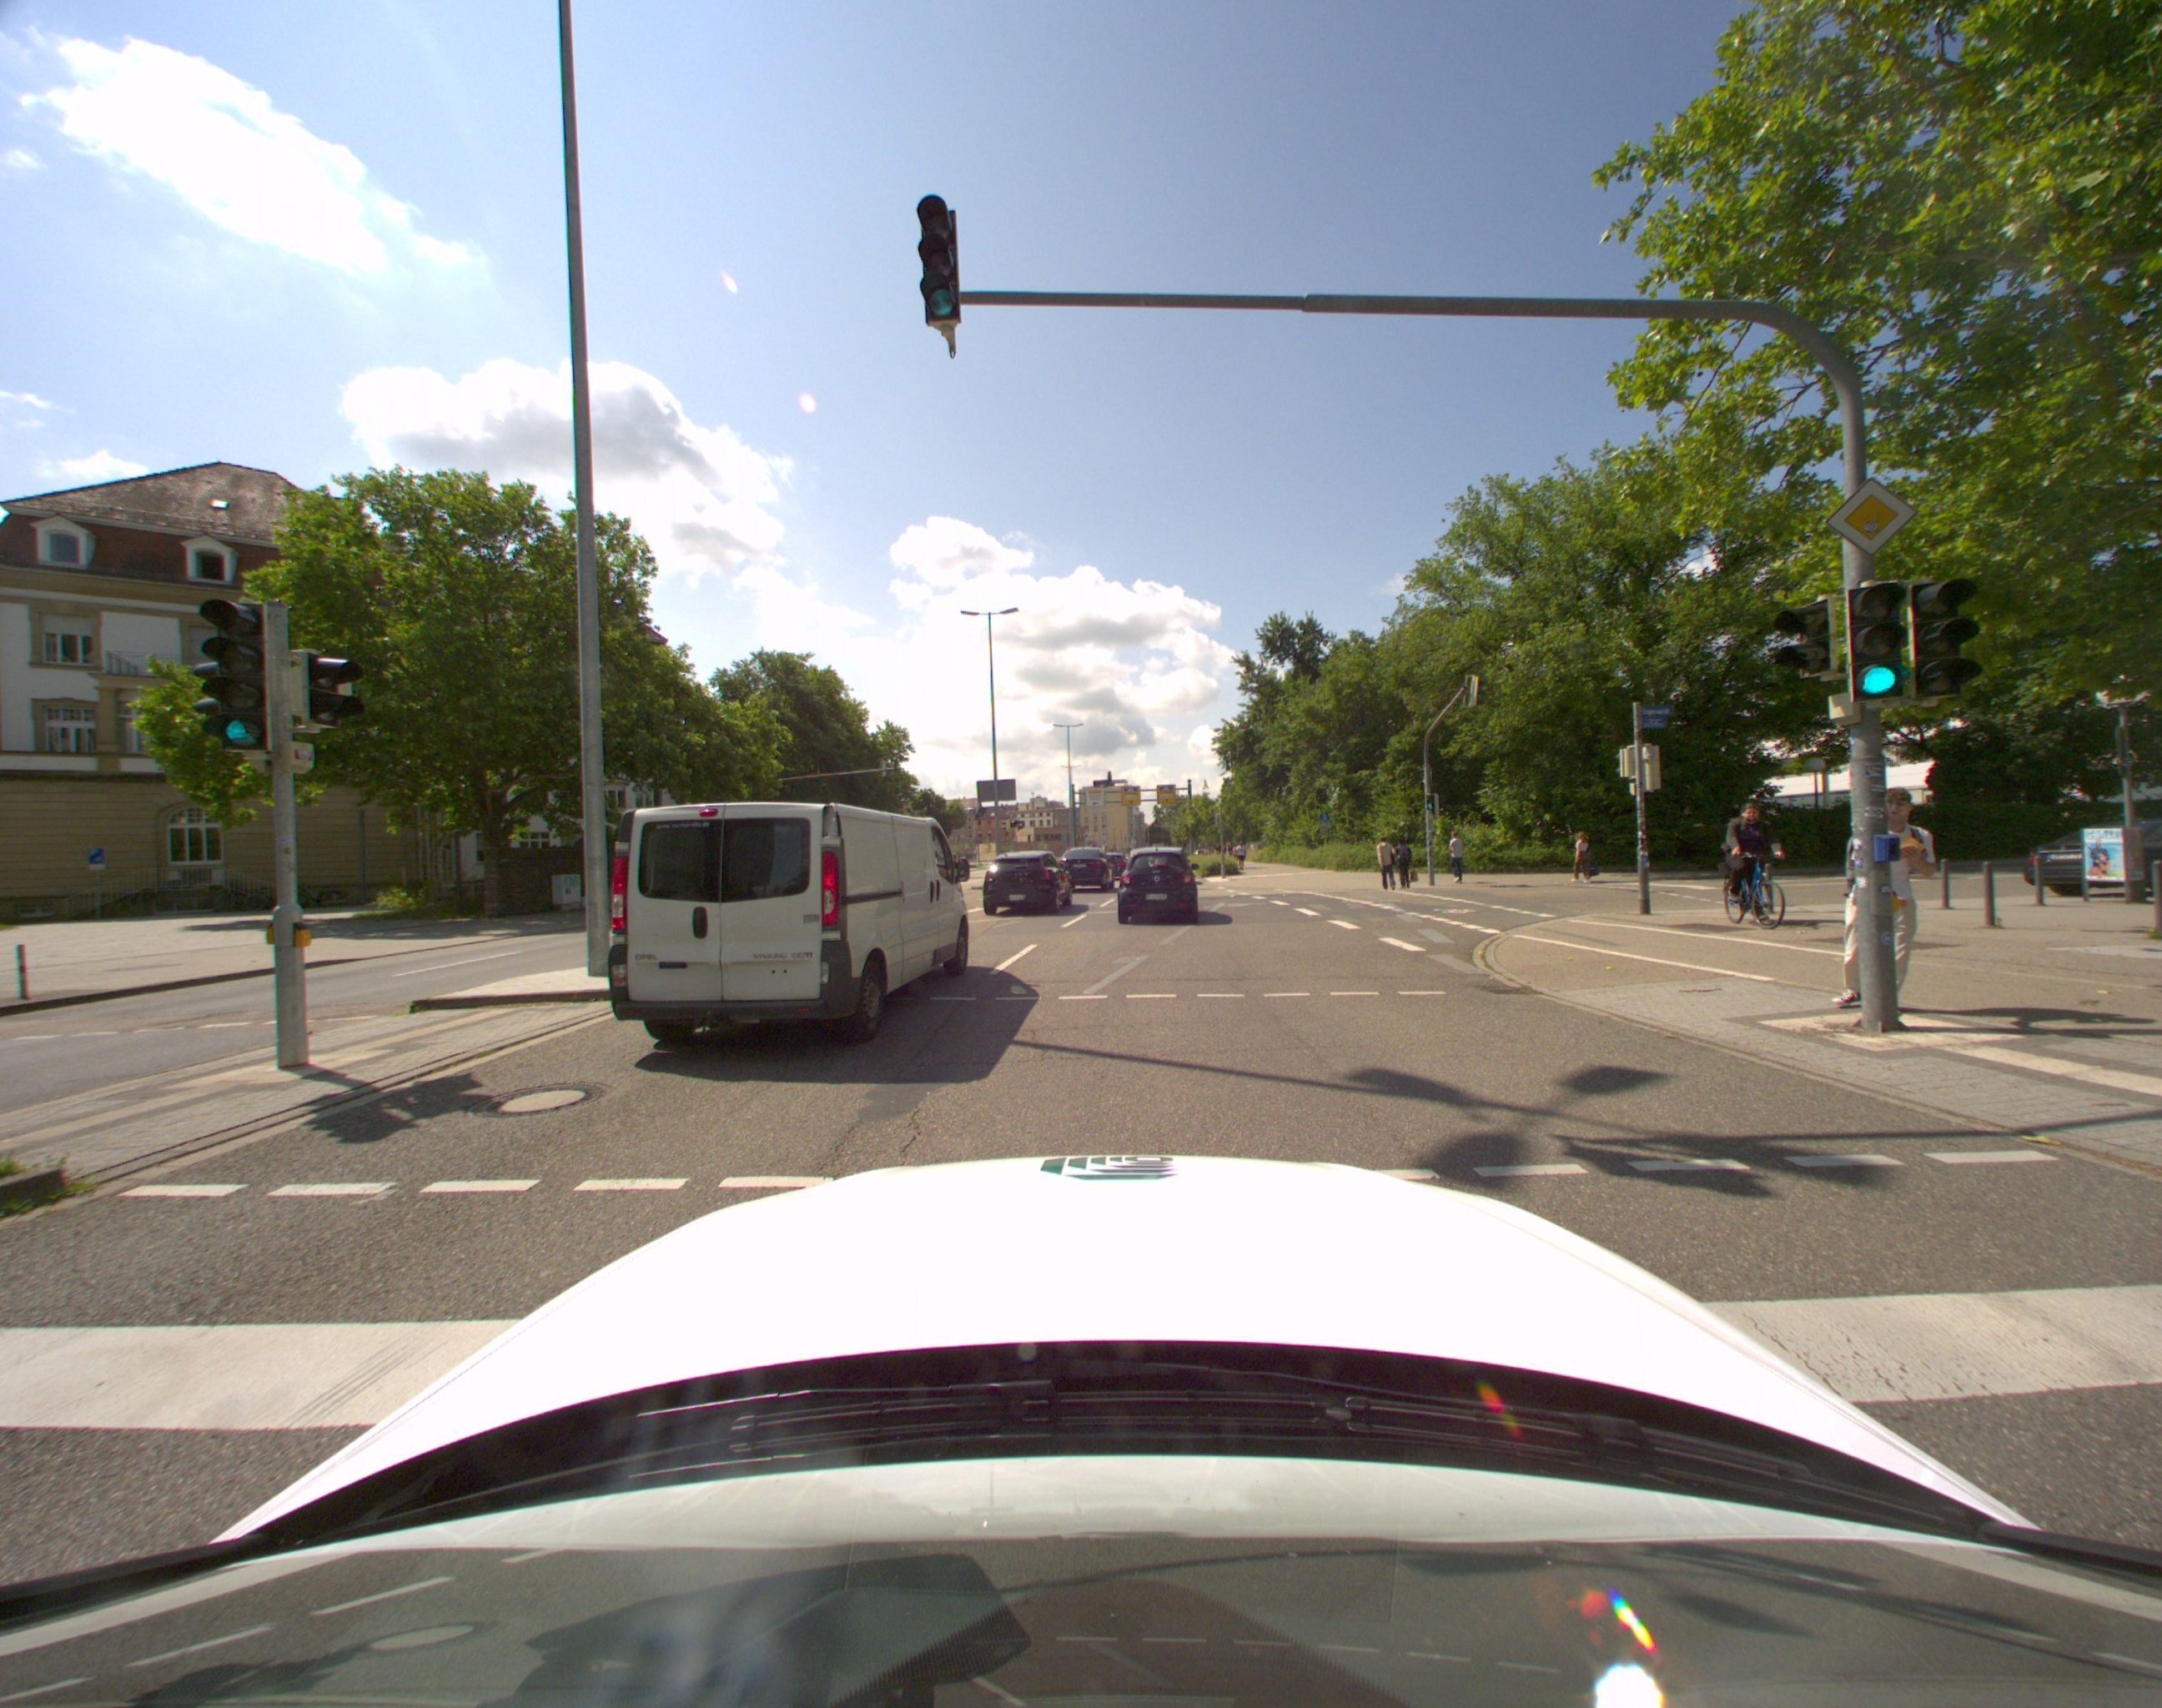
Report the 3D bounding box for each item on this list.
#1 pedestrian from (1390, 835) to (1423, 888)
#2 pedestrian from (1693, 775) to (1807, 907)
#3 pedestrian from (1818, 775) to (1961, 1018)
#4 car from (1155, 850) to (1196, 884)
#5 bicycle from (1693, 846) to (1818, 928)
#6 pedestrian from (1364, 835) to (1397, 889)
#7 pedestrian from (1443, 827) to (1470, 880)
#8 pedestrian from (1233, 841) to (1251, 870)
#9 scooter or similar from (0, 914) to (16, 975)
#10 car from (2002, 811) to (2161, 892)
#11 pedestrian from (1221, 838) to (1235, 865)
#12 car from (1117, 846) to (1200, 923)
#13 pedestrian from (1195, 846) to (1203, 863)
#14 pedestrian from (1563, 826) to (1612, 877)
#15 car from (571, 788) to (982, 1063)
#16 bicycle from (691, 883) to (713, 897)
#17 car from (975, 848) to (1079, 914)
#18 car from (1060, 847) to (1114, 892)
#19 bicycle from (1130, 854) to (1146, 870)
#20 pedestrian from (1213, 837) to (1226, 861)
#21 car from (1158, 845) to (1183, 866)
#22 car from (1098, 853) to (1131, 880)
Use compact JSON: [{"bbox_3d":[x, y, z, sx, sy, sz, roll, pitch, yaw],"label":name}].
[{"bbox_3d":[10.840,0.223,27.173,0.790,1.704,1.186,-2,1,12],"label":"pedestrian"},{"bbox_3d":[9.967,-0.172,12.200,0.846,1.820,1.182,-6,-3,22],"label":"pedestrian"},{"bbox_3d":[6.392,0.309,6.449,0.598,1.800,0.604,-4,0,-34],"label":"pedestrian"},{"bbox_3d":[4.290,0.564,37.329,1.604,1.411,3.520,-2,0,4],"label":"car"},{"bbox_3d":[10.014,0.464,12.188,0.808,1.073,1.901,-7,-3,22],"label":"bicycle"},{"bbox_3d":[9.721,0.244,26.454,0.790,1.704,1.186,-2,1,12],"label":"pedestrian"},{"bbox_3d":[13.190,-0.008,28.613,0.666,1.820,0.705,-2,0,12],"label":"pedestrian"},{"bbox_3d":[9.695,0.077,49.029,0.847,1.700,0.932,-4,-1,4],"label":"pedestrian"},{"bbox_3d":[-19.690,1.628,14.273,1.154,1.066,0.399,-2,0,-27],"label":"scooter or similar"},{"bbox_3d":[20.637,-0.104,15.186,4.916,1.400,1.723,-2,-2,0],"label":"car"},{"bbox_3d":[10.479,-0.163,58.070,0.835,1.868,1.019,-2,0,2],"label":"pedestrian"},{"bbox_3d":[1.642,0.603,17.828,1.604,1.485,3.521,-1,0,4],"label":"car"},{"bbox_3d":[13.690,0.080,94.530,0.835,1.969,0.861,-2,0,2],"label":"pedestrian"},{"bbox_3d":[16.725,-0.090,26.894,0.856,1.626,1.015,-4,1,-15],"label":"pedestrian"},{"bbox_3d":[-2.537,0.507,8.495,1.997,1.955,5.199,-1,0,4],"label":"car"},{"bbox_3d":[-19.057,1.811,40.941,1.009,0.682,0.405,0,-1,-25],"label":"bicycle"},{"bbox_3d":[-1.290,0.620,21.690,2.007,1.530,4.894,-1,1,5],"label":"car"},{"bbox_3d":[0.312,0.551,32.036,1.819,1.601,4.398,-1,0,4],"label":"car"},{"bbox_3d":[7.400,0.978,106.151,1.986,2.014,4.001,-1,0,2],"label":"bicycle"},{"bbox_3d":[11.418,-0.436,67.268,0.835,1.969,0.861,-2,0,2],"label":"pedestrian"},{"bbox_3d":[6.306,0.095,57.520,1.604,1.411,3.521,-1,0,4],"label":"car"},{"bbox_3d":[1.817,0.647,43.263,1.604,1.325,3.521,-2,0,4],"label":"car"}]
